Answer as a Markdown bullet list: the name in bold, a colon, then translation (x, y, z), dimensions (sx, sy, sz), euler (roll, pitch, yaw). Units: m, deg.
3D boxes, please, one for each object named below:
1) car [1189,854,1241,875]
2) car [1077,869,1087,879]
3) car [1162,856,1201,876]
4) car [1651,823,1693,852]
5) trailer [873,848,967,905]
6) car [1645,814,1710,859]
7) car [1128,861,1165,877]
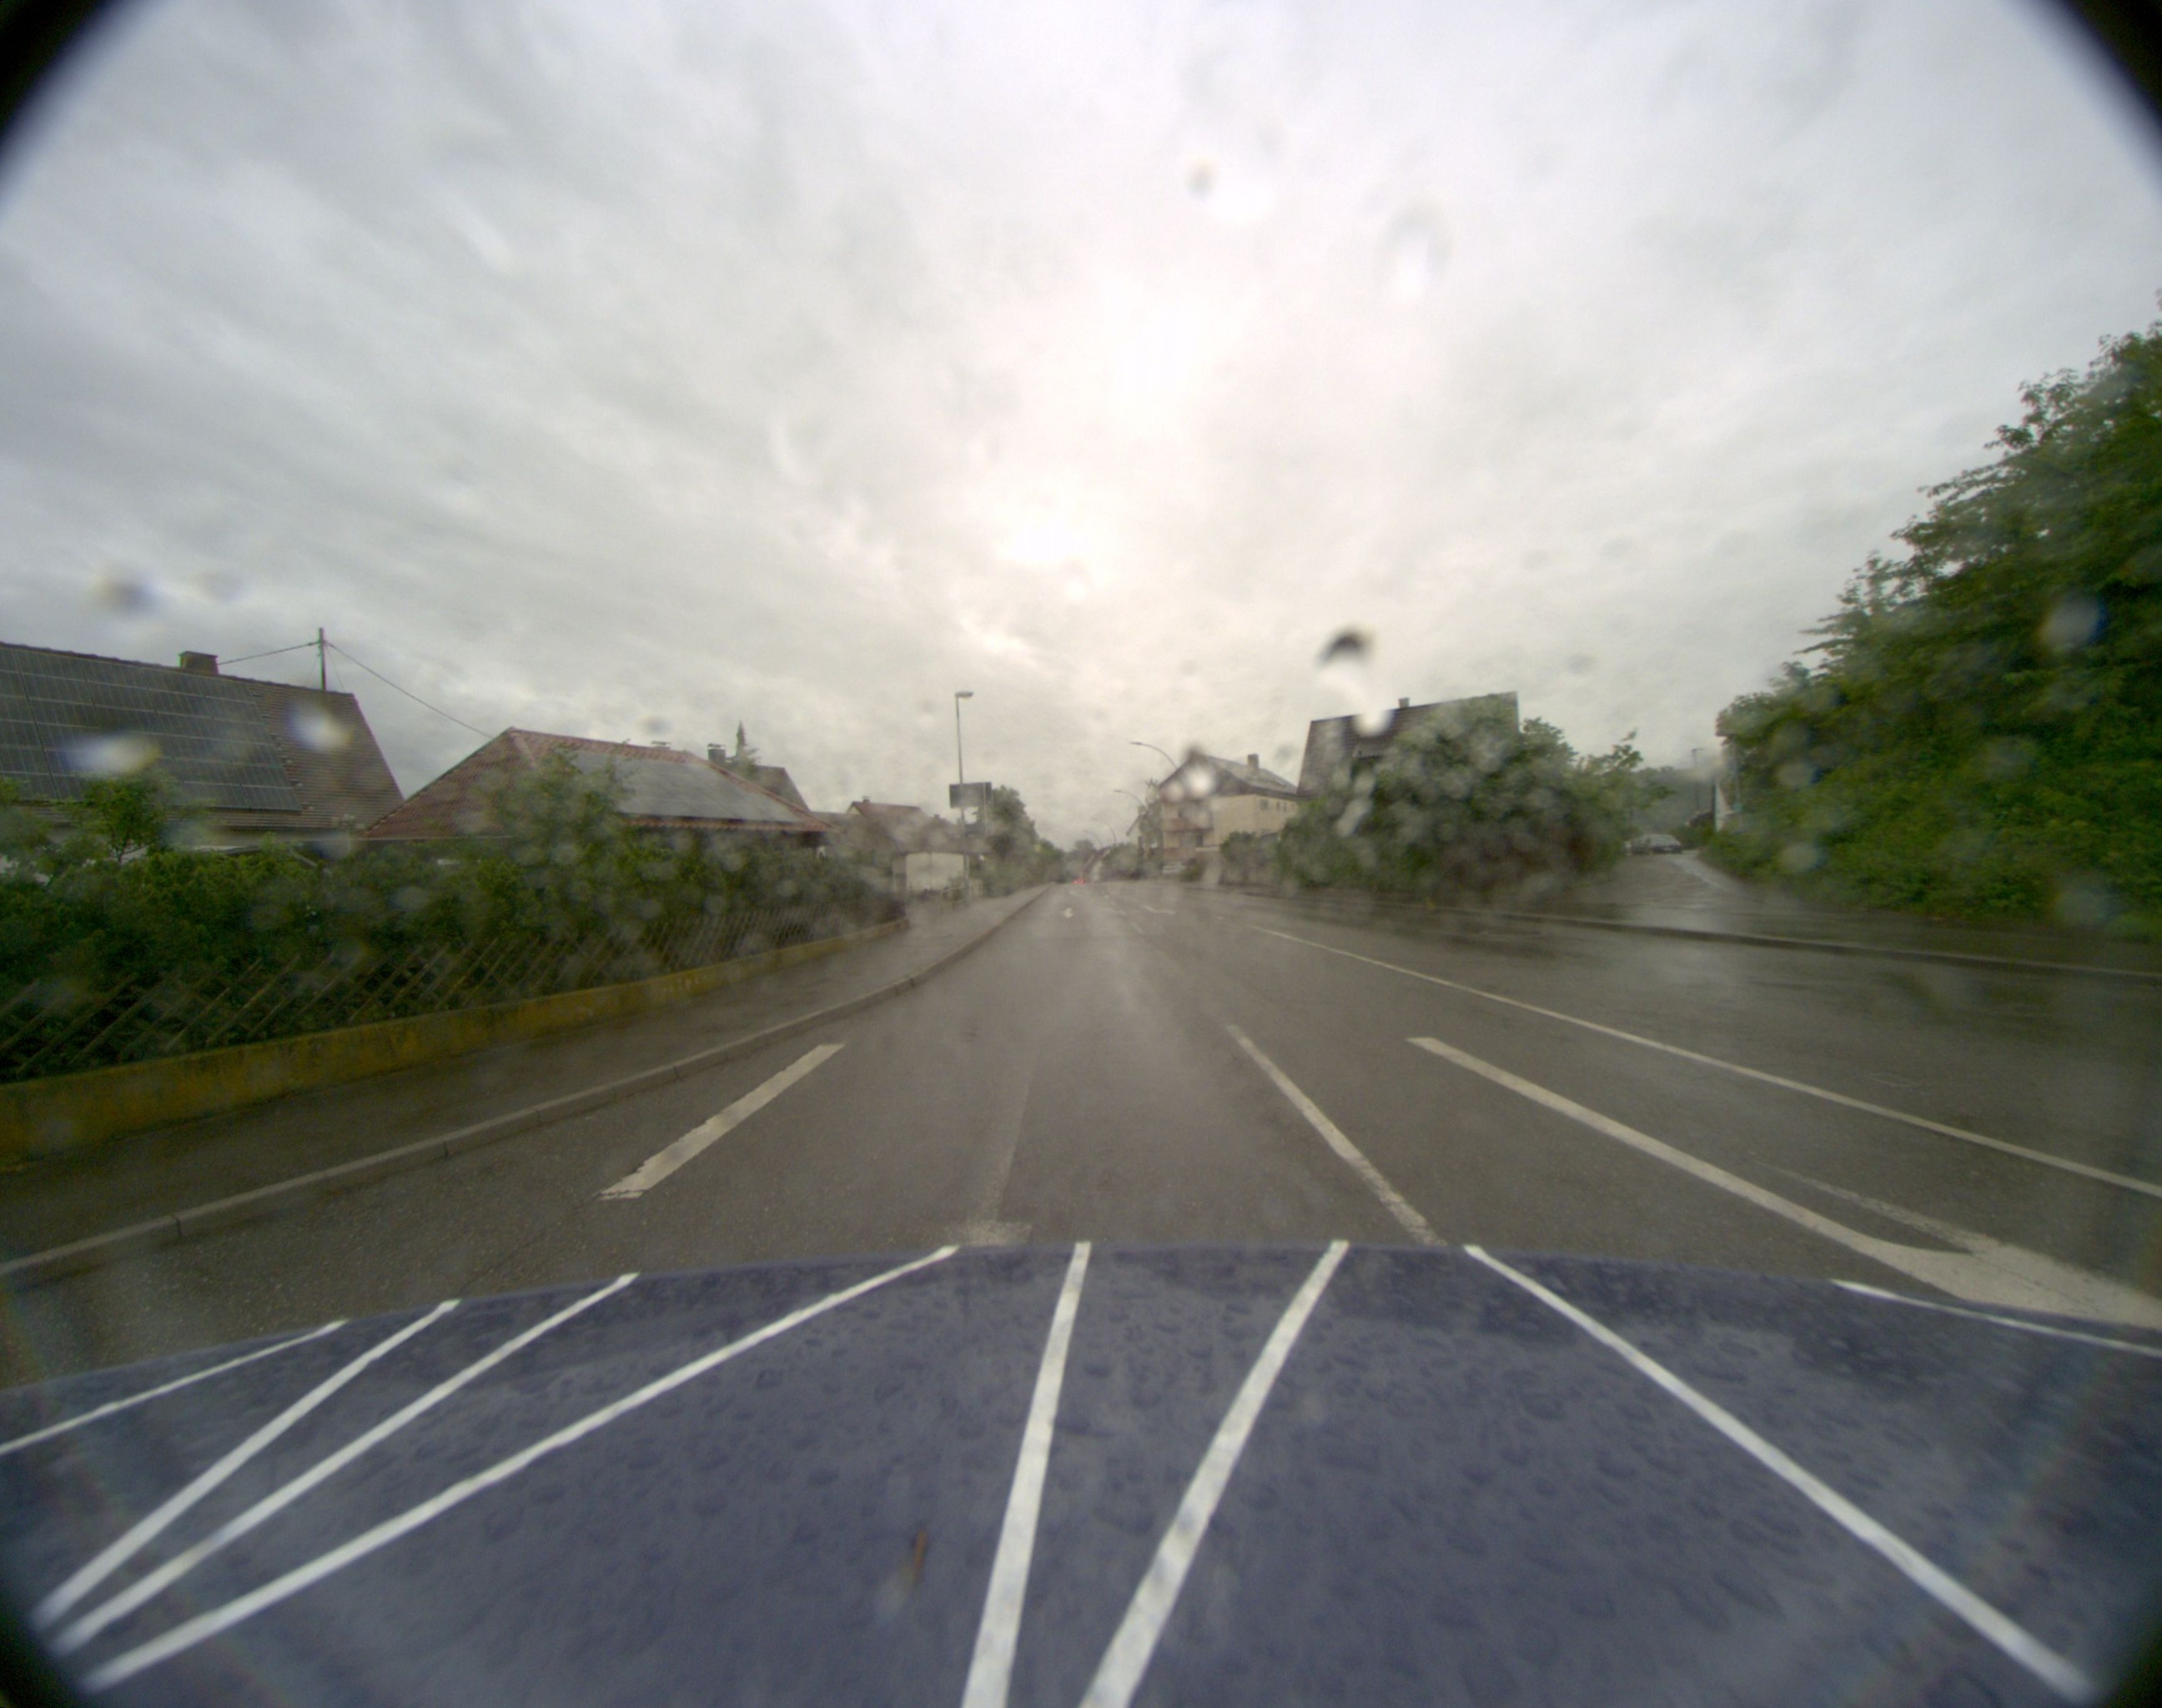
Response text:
- **car**: translation (10.777, 0.845, 61.161), dimensions (3.661, 1.510, 1.758), euler (-3, 0, 35)
- **car**: translation (0.234, 4.230, 159.413), dimensions (1.932, 1.864, 4.000), euler (-3, 0, 0)
- **car**: translation (8.907, 1.064, 67.039), dimensions (1.864, 1.510, 4.007), euler (-3, 0, 32)
- **car**: translation (41.127, -1.152, 52.850), dimensions (1.995, 1.848, 4.008), euler (-3, 0, 41)
- **trailer**: translation (-7.732, 1.019, 36.951), dimensions (1.645, 2.502, 4.712), euler (-3, -1, 28)
- **car**: translation (22.967, -0.683, 29.211), dimensions (1.706, 1.579, 3.669), euler (-2, 0, 42)
- **car**: translation (7.545, 1.738, 87.487), dimensions (1.995, 1.658, 4.425), euler (-3, 0, 38)
